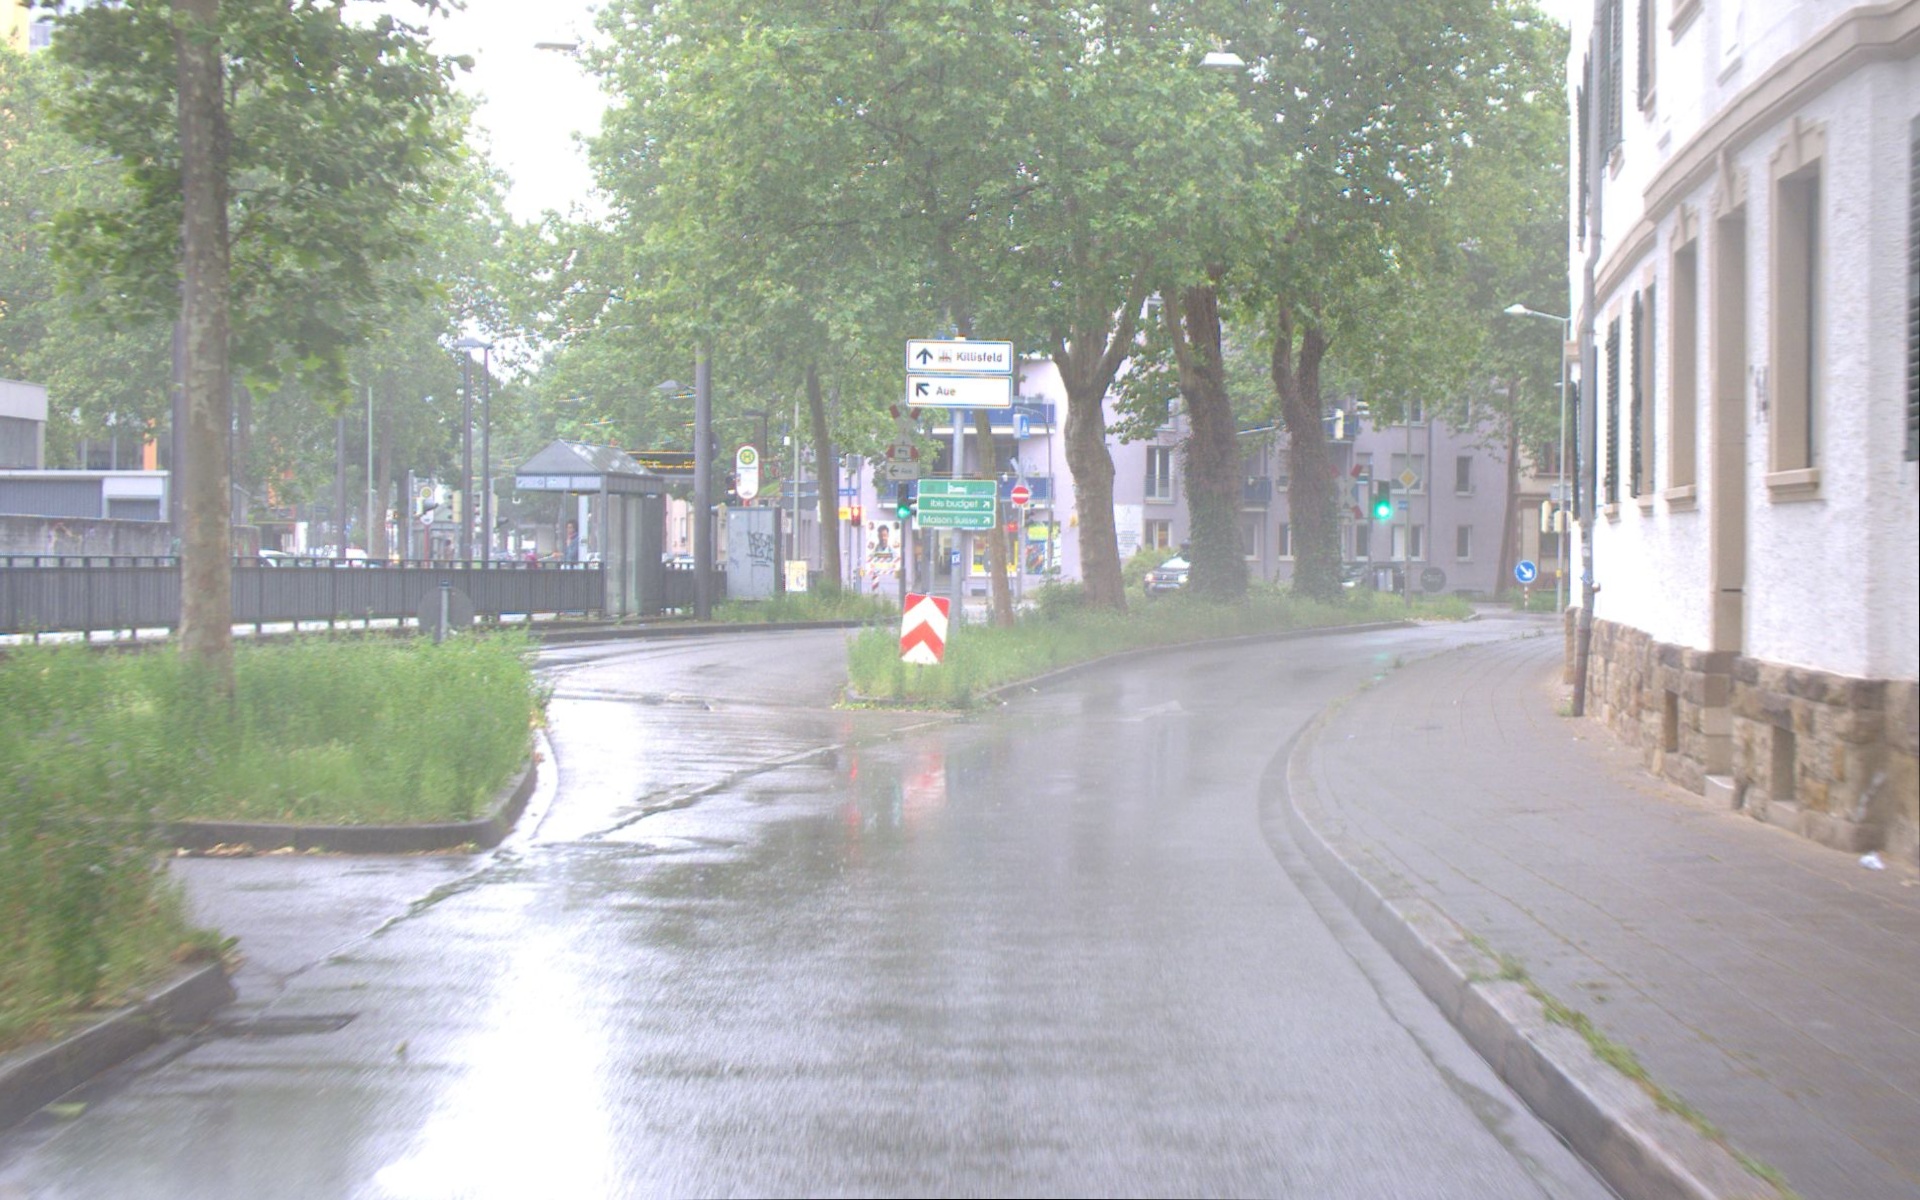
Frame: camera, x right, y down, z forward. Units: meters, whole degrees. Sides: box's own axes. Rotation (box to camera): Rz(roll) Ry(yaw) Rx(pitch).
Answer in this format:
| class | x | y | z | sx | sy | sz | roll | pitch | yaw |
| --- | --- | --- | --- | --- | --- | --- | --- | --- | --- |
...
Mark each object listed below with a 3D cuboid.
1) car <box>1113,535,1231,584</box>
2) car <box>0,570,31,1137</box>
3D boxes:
| class | x | y | z | sx | sy | sz | roll | pitch | yaw |
| --- | --- | --- | --- | --- | --- | --- | --- | --- | --- |
| car | 7.637 | -1.450 | 123.699 | 3.989 | 1.592 | 1.999 | 2 | 0 | -44 |
| car | -4.896 | 0.740 | 9.456 | 4.357 | 1.507 | 1.958 | -1 | 3 | 30 |
